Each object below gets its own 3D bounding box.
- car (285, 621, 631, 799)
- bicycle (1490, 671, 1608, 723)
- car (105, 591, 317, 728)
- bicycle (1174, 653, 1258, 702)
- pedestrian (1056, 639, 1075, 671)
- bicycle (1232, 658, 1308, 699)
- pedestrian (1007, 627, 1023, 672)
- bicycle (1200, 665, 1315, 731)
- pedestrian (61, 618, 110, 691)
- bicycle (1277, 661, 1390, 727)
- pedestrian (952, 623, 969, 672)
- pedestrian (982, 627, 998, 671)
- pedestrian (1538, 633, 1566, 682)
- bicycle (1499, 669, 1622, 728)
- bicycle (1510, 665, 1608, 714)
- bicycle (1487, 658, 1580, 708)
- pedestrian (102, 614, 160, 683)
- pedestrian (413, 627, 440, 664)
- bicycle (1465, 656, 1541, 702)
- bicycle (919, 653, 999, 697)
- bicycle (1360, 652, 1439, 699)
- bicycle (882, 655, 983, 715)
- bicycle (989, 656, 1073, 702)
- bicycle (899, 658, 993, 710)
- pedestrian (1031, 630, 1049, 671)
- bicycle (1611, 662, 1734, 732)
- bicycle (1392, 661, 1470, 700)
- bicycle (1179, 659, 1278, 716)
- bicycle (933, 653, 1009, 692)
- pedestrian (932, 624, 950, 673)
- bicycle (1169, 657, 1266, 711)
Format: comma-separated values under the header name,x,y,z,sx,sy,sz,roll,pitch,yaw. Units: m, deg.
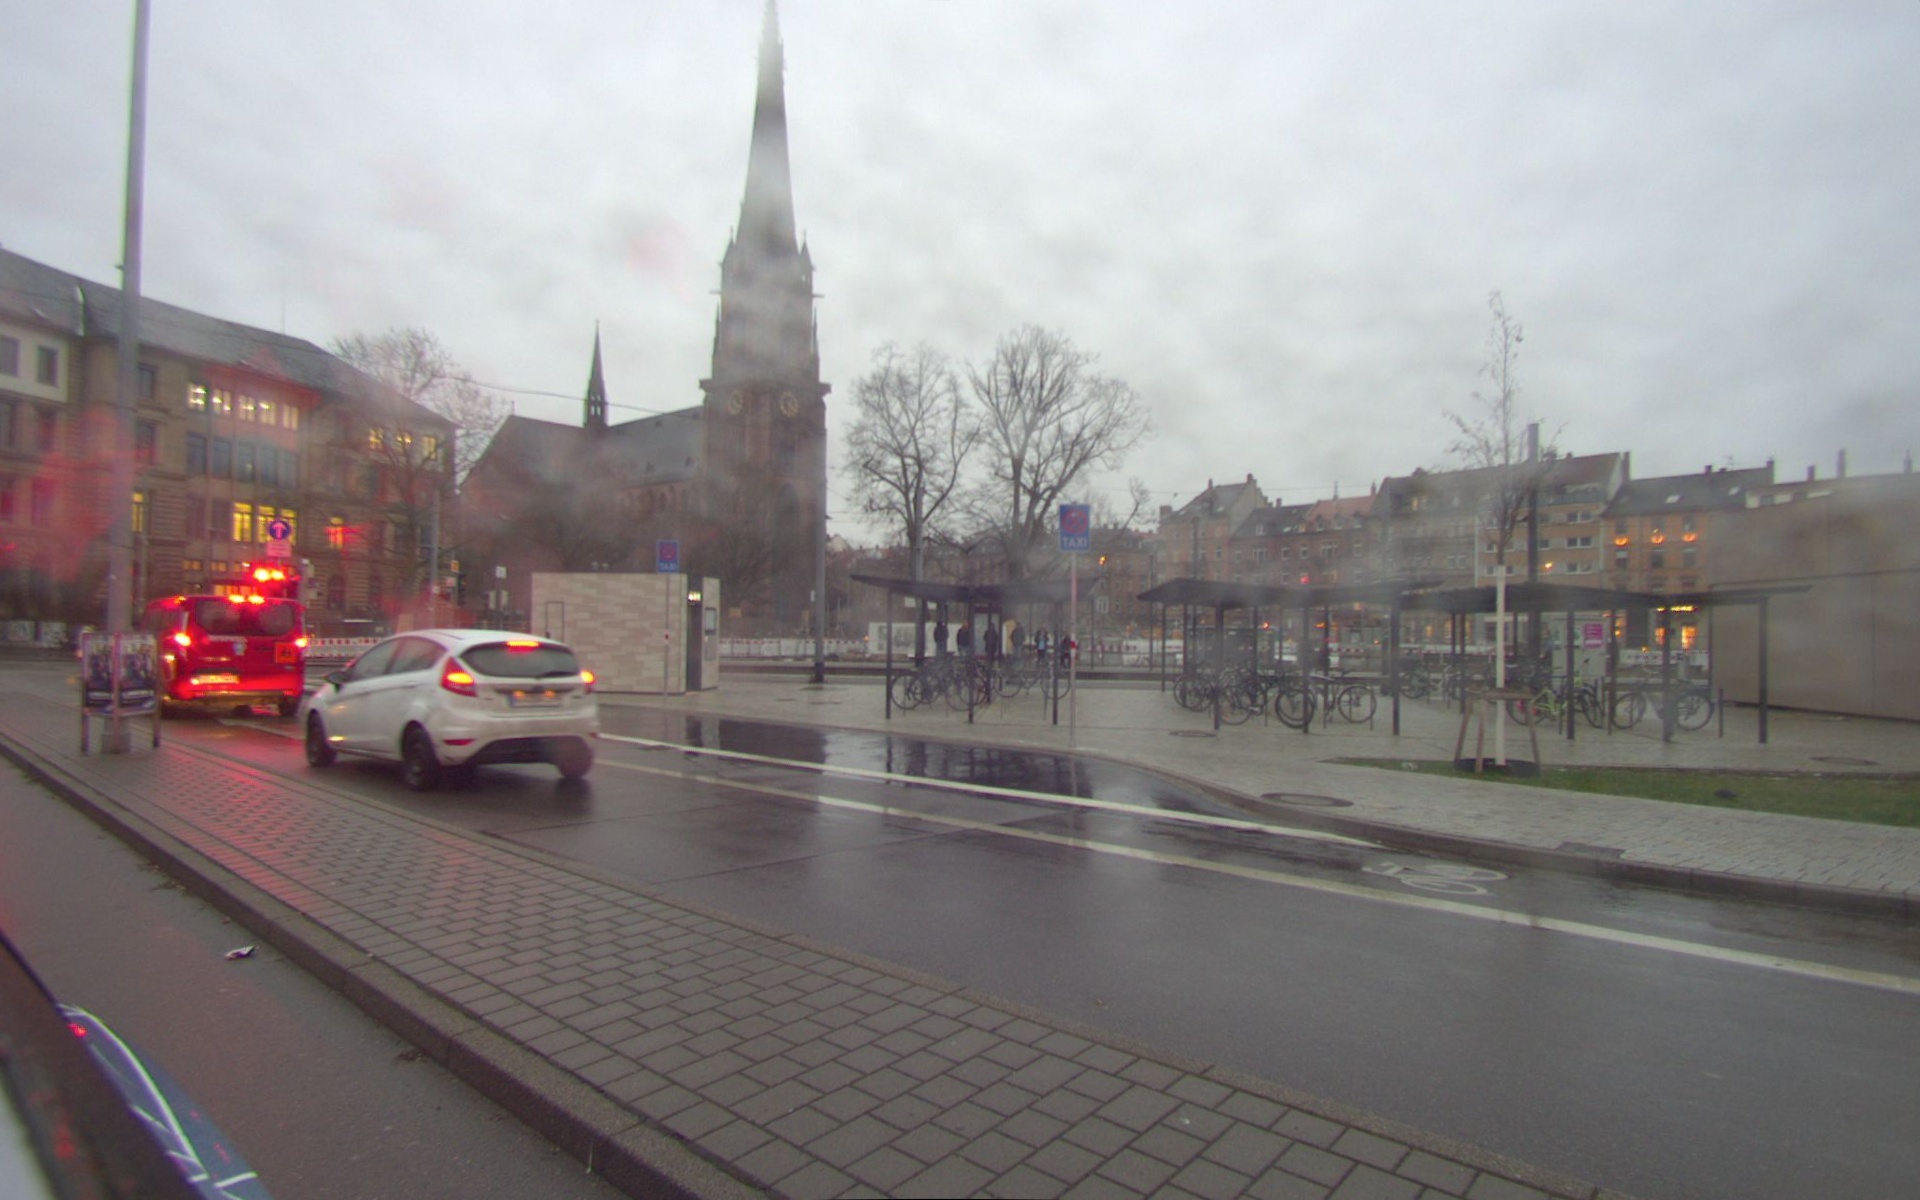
name,x,y,z,sx,sy,sz,roll,pitch,yaw
car,-5.192,1.000,10.309,3.710,1.459,1.722,-1,-5,40
bicycle,11.370,1.863,19.574,1.905,0.898,0.473,1,-1,11
car,-13.207,0.996,17.745,4.640,2.086,1.904,-1,-4,40
bicycle,6.067,1.829,24.042,1.905,1.078,0.473,1,-1,11
pedestrian,3.984,2.073,38.326,0.610,1.165,0.806,-1,0,-1
bicycle,7.666,1.942,25.073,1.729,0.946,0.474,1,-1,7
pedestrian,2.071,1.856,38.116,0.543,1.648,0.571,-1,0,-1
bicycle,5.259,1.720,17.959,1.905,1.078,0.473,1,-1,11
pedestrian,-21.401,1.322,24.761,0.787,1.736,0.674,4,-3,-45
bicycle,6.948,1.735,18.869,1.905,1.129,0.473,1,-1,11
pedestrian,0.007,1.802,38.581,0.619,1.808,0.672,-1,0,-1
pedestrian,1.152,1.860,38.654,0.556,1.664,0.540,-1,0,-1
pedestrian,20.646,2.000,35.317,0.694,1.679,0.526,0,-3,15
bicycle,11.129,1.814,18.787,1.905,0.983,0.473,1,-1,11
bicycle,12.904,1.920,21.833,1.751,0.963,0.473,1,-1,11
bicycle,13.256,1.909,23.420,1.810,1.081,0.474,1,-1,8
pedestrian,-23.363,1.366,28.535,0.670,1.915,0.991,0,-3,26
pedestrian,-26.254,2.234,49.772,0.888,1.830,0.672,1,-2,10
bicycle,13.236,1.917,24.667,1.551,1.044,0.521,1,-1,1
bicycle,-0.011,1.829,24.871,1.905,0.993,0.473,1,-1,11
bicycle,11.188,1.925,25.805,1.780,1.116,0.473,1,-1,11
bicycle,-0.535,1.654,19.869,1.905,1.078,0.473,1,-1,11
bicycle,1.643,1.822,23.426,1.905,0.993,0.473,1,-1,11
bicycle,-0.284,1.734,21.107,1.905,0.993,0.473,1,-1,11
pedestrian,3.037,1.911,38.334,0.580,1.513,0.675,-1,0,-1
bicycle,12.693,1.725,18.048,1.731,1.165,0.617,1,-1,1
bicycle,11.624,1.992,24.994,1.672,0.898,0.474,1,-1,5
bicycle,5.448,1.775,20.620,1.905,1.078,0.473,1,-1,11
bicycle,0.274,1.868,26.129,1.905,0.917,0.473,1,-1,11
pedestrian,-0.732,1.812,38.314,0.660,1.808,0.827,-1,0,-1
bicycle,5.434,1.773,21.403,1.899,1.078,0.474,1,-1,2
